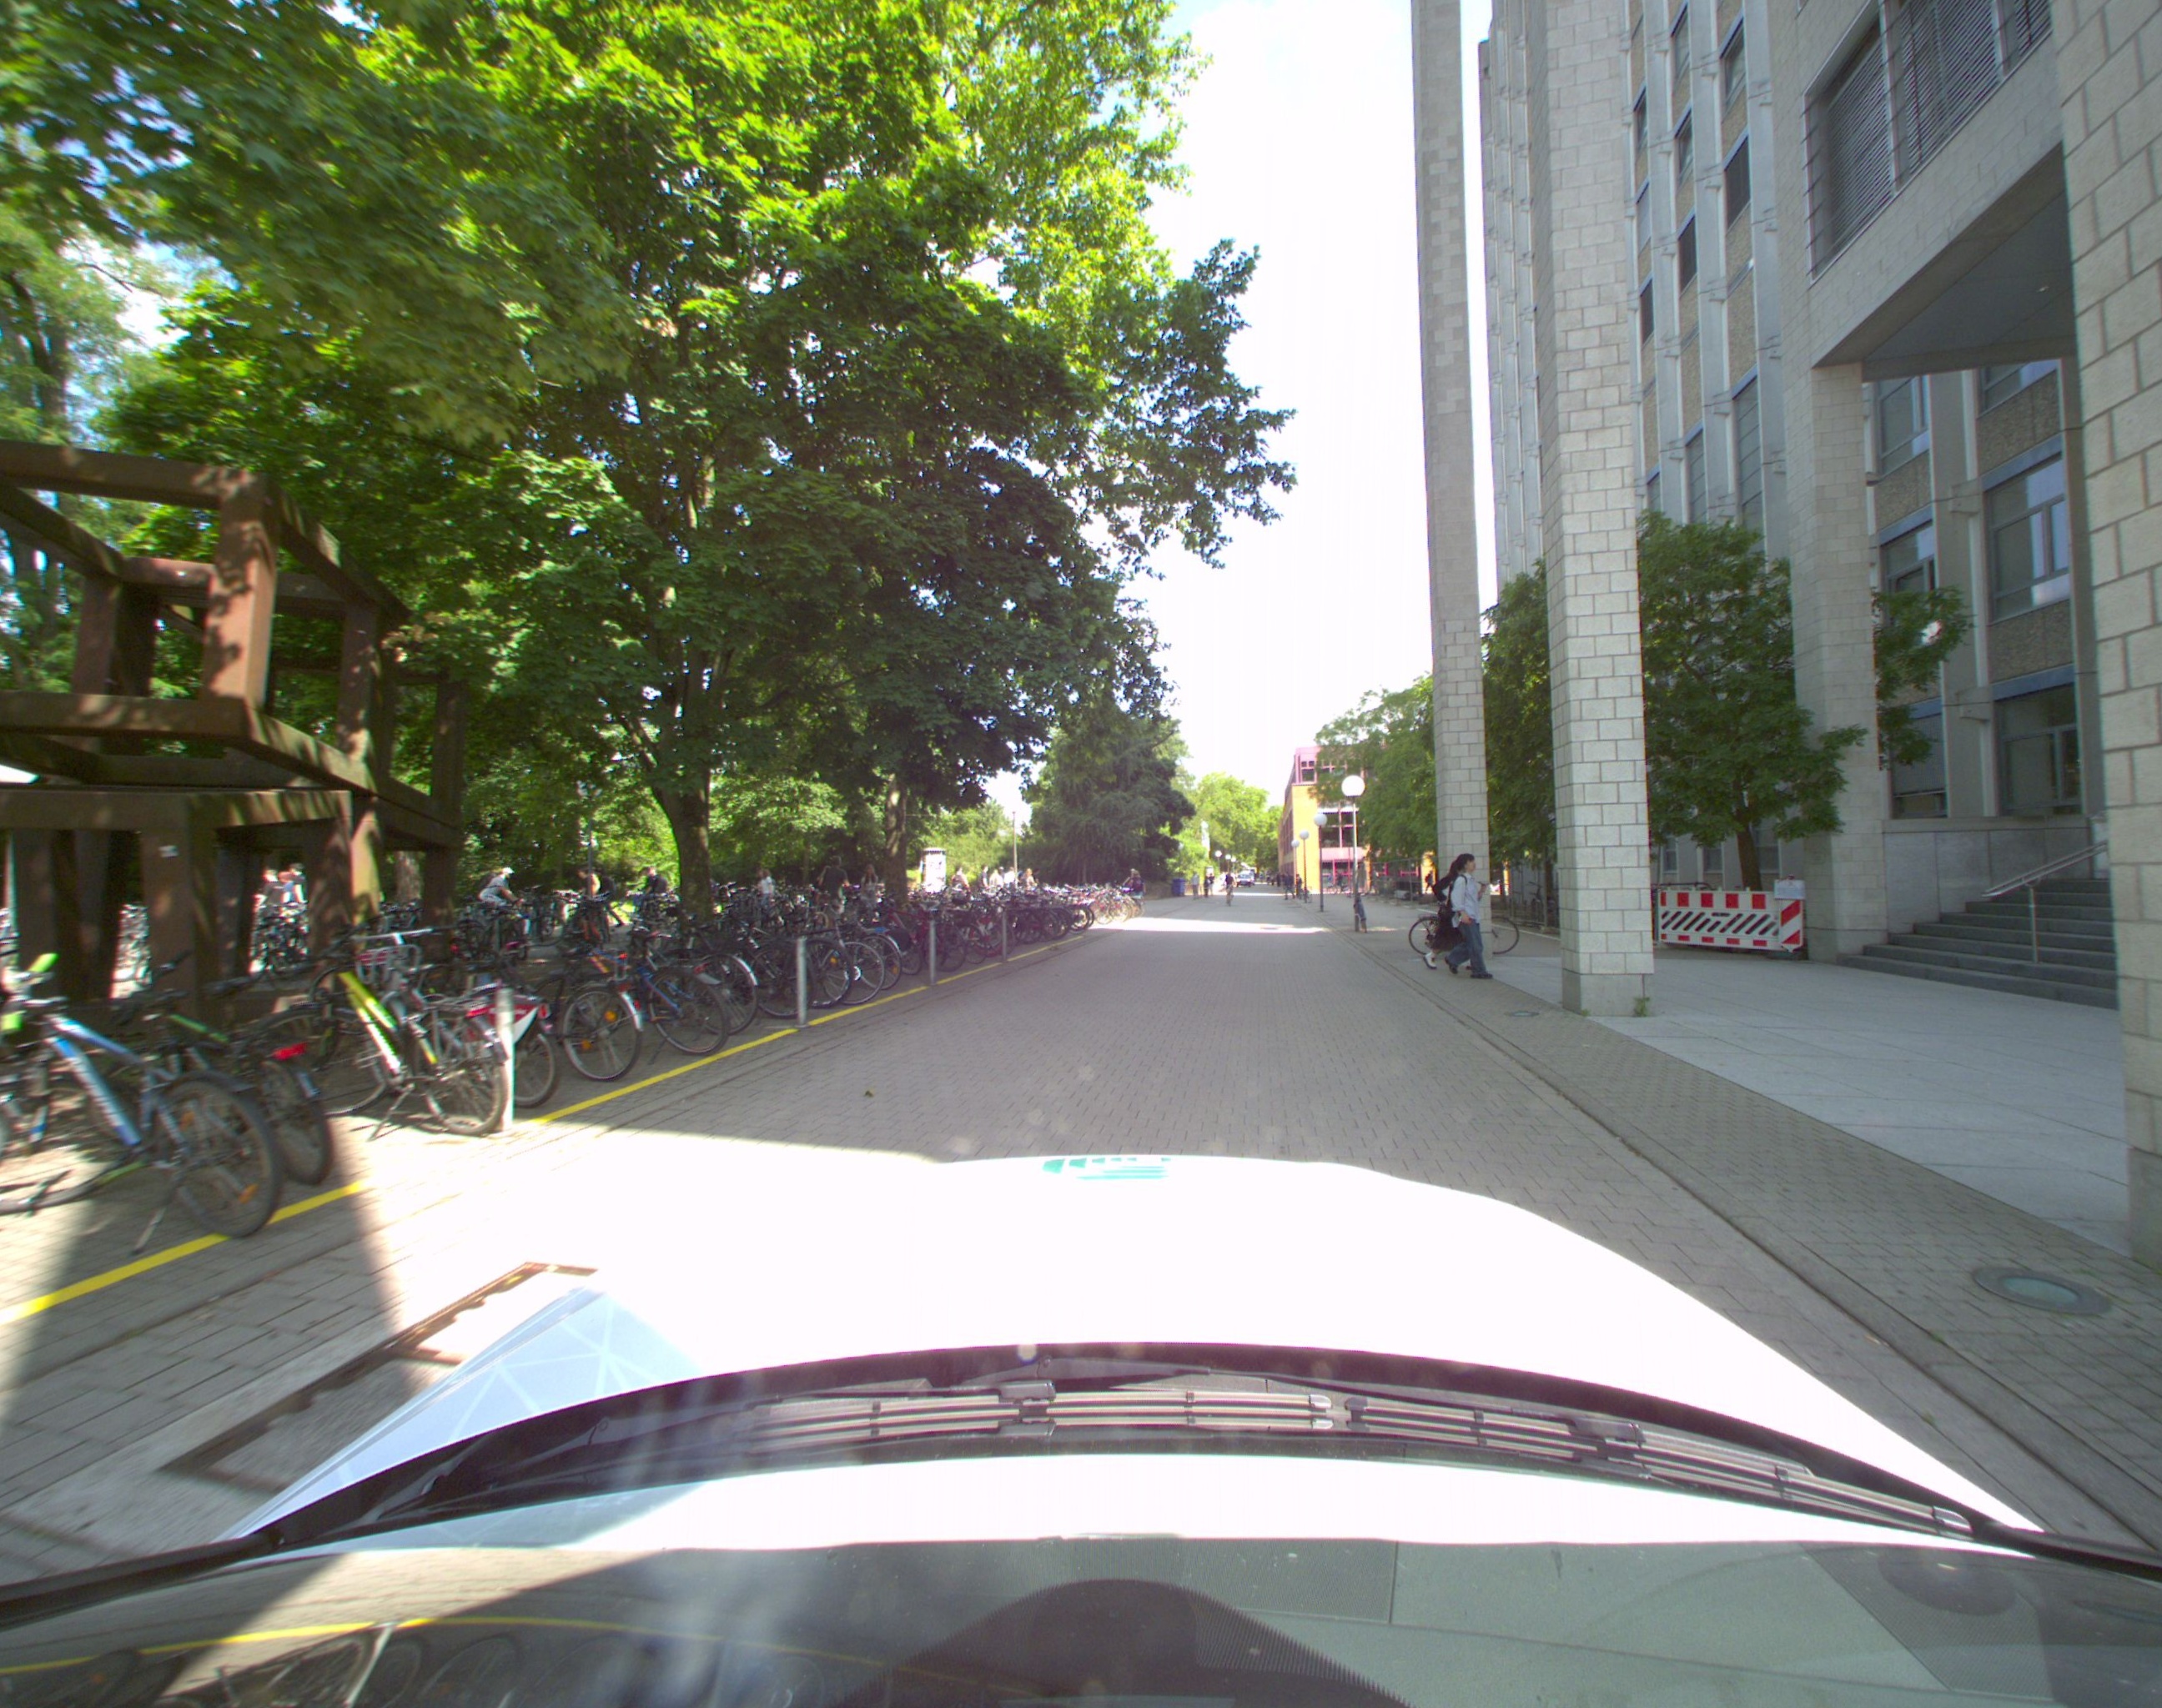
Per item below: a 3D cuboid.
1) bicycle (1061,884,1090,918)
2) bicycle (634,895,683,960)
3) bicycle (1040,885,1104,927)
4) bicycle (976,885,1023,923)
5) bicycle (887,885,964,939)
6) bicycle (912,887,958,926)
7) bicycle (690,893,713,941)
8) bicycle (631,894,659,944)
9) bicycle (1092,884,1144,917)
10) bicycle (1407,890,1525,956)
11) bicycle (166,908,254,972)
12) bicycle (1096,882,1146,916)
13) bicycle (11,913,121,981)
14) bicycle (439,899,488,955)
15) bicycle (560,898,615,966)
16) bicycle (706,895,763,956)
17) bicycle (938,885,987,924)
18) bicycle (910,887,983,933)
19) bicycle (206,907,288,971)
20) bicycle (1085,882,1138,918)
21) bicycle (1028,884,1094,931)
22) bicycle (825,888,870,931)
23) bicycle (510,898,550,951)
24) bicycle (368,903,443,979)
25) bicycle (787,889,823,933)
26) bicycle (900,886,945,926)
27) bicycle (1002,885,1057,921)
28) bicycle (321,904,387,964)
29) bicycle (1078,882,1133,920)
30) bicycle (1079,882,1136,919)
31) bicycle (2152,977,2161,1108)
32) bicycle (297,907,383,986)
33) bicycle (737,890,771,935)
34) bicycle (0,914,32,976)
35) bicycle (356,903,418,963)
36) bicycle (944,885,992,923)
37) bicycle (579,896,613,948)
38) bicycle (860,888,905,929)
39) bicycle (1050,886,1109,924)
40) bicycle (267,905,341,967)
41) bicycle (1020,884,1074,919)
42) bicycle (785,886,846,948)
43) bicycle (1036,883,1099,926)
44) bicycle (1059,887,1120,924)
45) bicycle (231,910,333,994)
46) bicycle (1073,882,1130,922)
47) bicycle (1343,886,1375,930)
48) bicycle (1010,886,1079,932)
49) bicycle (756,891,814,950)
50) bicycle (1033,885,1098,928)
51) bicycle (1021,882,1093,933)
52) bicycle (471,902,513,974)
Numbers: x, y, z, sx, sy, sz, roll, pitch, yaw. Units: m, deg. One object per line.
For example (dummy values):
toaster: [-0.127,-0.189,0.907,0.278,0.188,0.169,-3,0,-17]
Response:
bicycle: [-0.180,1.544,27.107,0.503,1.084,1.706,-1,-2,15]
bicycle: [-7.919,1.346,15.235,0.505,1.108,1.680,1,-2,-38]
bicycle: [-0.252,1.411,22.310,1.697,1.108,0.471,0,-2,-16]
bicycle: [-2.483,1.498,24.659,0.477,1.084,1.679,1,-2,-43]
bicycle: [-3.595,1.330,18.901,1.688,1.220,0.503,0,-2,0]
bicycle: [-4.259,1.511,23.674,0.477,1.084,1.679,1,-2,-42]
bicycle: [-9.267,1.516,19.878,0.475,1.084,1.685,0,-2,-25]
bicycle: [-10.196,1.496,19.078,0.475,1.084,1.685,0,-2,-25]
bicycle: [1.254,1.553,27.506,1.685,1.091,0.475,-1,-2,6]
bicycle: [6.504,1.165,13.820,1.729,1.039,0.450,-2,-1,7]
bicycle: [-16.547,1.605,15.525,0.475,1.084,1.843,0,-2,-25]
bicycle: [1.376,1.543,27.961,1.687,1.159,0.474,-1,-2,3]
bicycle: [-18.516,1.663,14.906,0.475,1.084,1.843,0,-2,-25]
bicycle: [-13.123,1.517,17.345,0.475,1.084,1.685,0,-2,-25]
bicycle: [-8.892,1.360,14.647,0.634,1.108,1.680,1,-2,-38]
bicycle: [-6.763,1.360,15.868,0.505,1.108,1.679,1,-2,-42]
bicycle: [-3.455,1.455,23.646,1.678,1.084,0.477,-2,-2,43]
bicycle: [-3.271,1.365,19.917,1.688,1.108,0.503,0,-2,0]
bicycle: [-16.052,1.602,15.718,0.475,1.084,1.843,0,-2,-25]
bicycle: [1.002,1.499,26.779,1.685,1.168,0.475,-1,-2,6]
bicycle: [-0.511,1.368,21.074,1.688,1.188,0.474,0,-2,0]
bicycle: [-6.253,1.457,21.756,0.477,1.084,1.679,1,-2,-42]
bicycle: [-12.318,1.551,18.227,0.475,1.084,1.685,0,-2,-25]
bicycle: [-11.048,1.385,13.367,0.504,1.108,1.765,0,-2,-25]
bicycle: [-7.238,1.474,21.305,0.476,1.084,1.682,1,-2,-33]
bicycle: [-4.551,1.473,23.282,0.477,1.084,1.679,1,-2,-42]
bicycle: [-1.603,1.498,25.158,1.678,1.084,0.477,-1,-2,25]
bicycle: [-14.652,1.580,16.450,0.475,1.084,1.843,0,-2,-25]
bicycle: [0.750,1.450,25.231,1.689,1.168,0.474,0,-2,-1]
bicycle: [0.845,1.474,25.939,1.759,1.168,0.477,-1,-2,25]
bicycle: [3.457,0.819,1.512,1.870,1.164,0.606,-3,-1,7]
bicycle: [-11.803,1.428,13.021,0.504,1.108,1.765,0,-2,-25]
bicycle: [-8.356,1.470,20.761,0.476,1.084,1.682,1,-2,-33]
bicycle: [-19.468,1.636,14.296,0.475,1.084,1.843,0,-2,-25]
bicycle: [-14.092,1.571,16.573,0.475,1.084,1.843,0,-2,-25]
bicycle: [-3.376,1.482,24.256,1.678,1.084,0.477,-2,-2,43]
bicycle: [-10.926,1.507,18.379,0.475,1.084,1.685,0,-2,-25]
bicycle: [-5.531,1.483,22.613,0.477,1.084,1.679,1,-2,-42]
bicycle: [-0.047,1.482,23.922,1.701,1.062,0.470,0,-2,-23]
bicycle: [-15.237,1.584,16.022,0.475,1.084,1.843,0,-2,-25]
bicycle: [-1.094,1.518,26.152,1.679,1.084,0.477,-1,-2,24]
bicycle: [-5.496,1.276,16.811,0.579,1.200,1.679,1,-2,-42]
bicycle: [-0.373,1.386,22.759,1.697,1.157,0.471,0,-2,-16]
bicycle: [0.242,1.485,23.502,1.701,1.019,0.470,0,-2,-23]
bicycle: [-12.181,1.445,12.482,0.504,1.108,1.890,0,-2,-25]
bicycle: [0.608,1.445,24.705,1.691,1.168,0.473,0,-2,-5]
bicycle: [7.147,1.376,21.006,0.533,1.039,1.864,-2,-2,12]
bicycle: [-0.908,1.381,20.589,1.688,1.108,0.566,0,-2,0]
bicycle: [-5.981,1.319,16.418,0.505,1.108,1.679,1,-2,-42]
bicycle: [-0.408,1.385,21.593,1.688,1.108,0.582,0,-2,0]
bicycle: [-0.568,1.295,19.671,1.686,1.199,0.537,-1,-2,3]
bicycle: [-10.041,1.399,13.870,0.505,1.108,1.680,1,-2,-38]
